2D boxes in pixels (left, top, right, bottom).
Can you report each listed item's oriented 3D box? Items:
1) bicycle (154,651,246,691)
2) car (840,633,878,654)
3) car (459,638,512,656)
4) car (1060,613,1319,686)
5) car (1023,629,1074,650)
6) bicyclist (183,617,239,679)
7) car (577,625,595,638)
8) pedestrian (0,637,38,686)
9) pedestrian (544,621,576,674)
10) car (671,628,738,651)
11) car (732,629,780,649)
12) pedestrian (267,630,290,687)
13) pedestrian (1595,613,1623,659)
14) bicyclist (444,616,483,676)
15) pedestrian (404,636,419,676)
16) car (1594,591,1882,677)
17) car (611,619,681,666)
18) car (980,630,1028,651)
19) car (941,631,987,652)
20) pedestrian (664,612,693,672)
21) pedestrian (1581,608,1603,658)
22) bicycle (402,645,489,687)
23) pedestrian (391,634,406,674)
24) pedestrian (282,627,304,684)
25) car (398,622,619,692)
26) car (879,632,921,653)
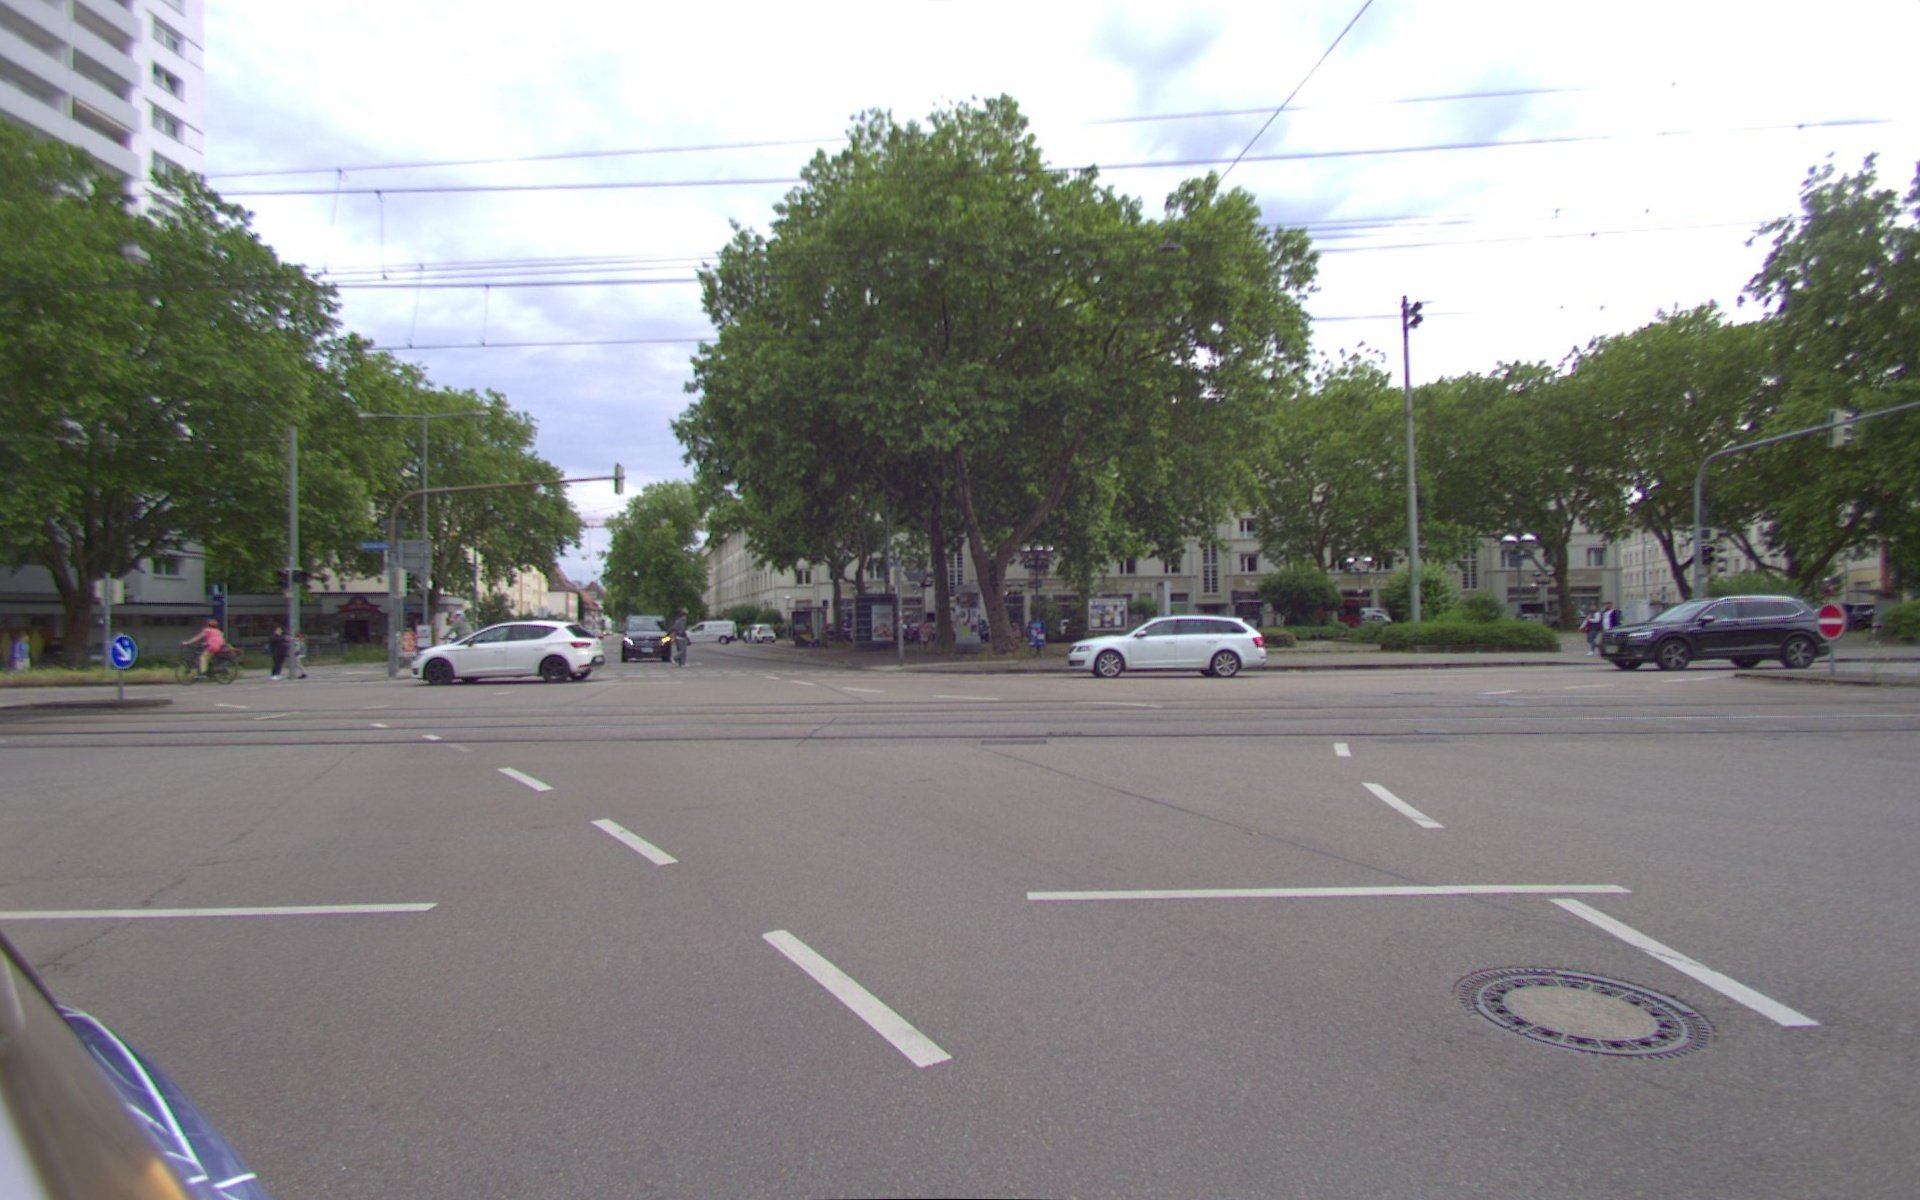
[{"bbox_3d":[-20.777,1.941,27.684,1.966,1.072,0.729,-1,-3,2],"label":"bicycle"},{"bbox_3d":[-7.219,3.027,71.717,1.966,1.400,4.845,-1,-2,-14],"label":"car"},{"bbox_3d":[-41.540,4.095,88.684,3.933,1.386,1.823,-1,0,-14],"label":"car"},{"bbox_3d":[5.260,1.168,23.798,5.626,1.537,1.845,-1,-3,3],"label":"car"},{"bbox_3d":[6.096,2.746,70.500,2.048,1.400,4.845,-1,-2,-14],"label":"car"},{"bbox_3d":[-20.497,1.327,27.710,0.980,1.650,0.707,-1,-3,2],"label":"bicyclist"},{"bbox_3d":[-64.132,5.389,173.575,1.969,2.029,4.006,-1,0,-7],"label":"car"},{"bbox_3d":[-30.132,1.955,32.336,0.843,1.520,0.553,-1,0,8],"label":"pedestrian"},{"bbox_3d":[-13.030,1.535,32.991,0.745,1.703,0.807,-1,-2,-2],"label":"pedestrian"},{"bbox_3d":[-19.551,3.011,77.675,4.758,1.676,2.002,-1,-2,-5],"label":"car"},{"bbox_3d":[-16.504,3.147,81.689,3.999,1.497,1.777,-2,-2,43],"label":"car"},{"bbox_3d":[-19.874,1.689,29.512,0.515,1.624,0.528,-1,0,-30],"label":"pedestrian"},{"bbox_3d":[19.079,1.045,29.771,0.463,1.336,0.457,-1,-2,-4],"label":"pedestrian"},{"bbox_3d":[-13.275,1.223,27.062,0.746,1.574,0.584,-1,-4,3],"label":"bicyclist"},{"bbox_3d":[-19.132,1.947,35.310,0.410,1.375,0.392,-1,0,-25],"label":"pedestrian"},{"bbox_3d":[17.617,0.759,23.103,5.081,1.796,1.706,-1,0,3],"label":"car"},{"bbox_3d":[-12.492,1.746,40.476,1.884,1.732,3.742,-1,-4,-4],"label":"car"},{"bbox_3d":[3.022,2.819,70.645,1.966,1.400,4.845,-1,-2,-14],"label":"car"},{"bbox_3d":[0.236,2.841,69.828,1.966,1.400,4.845,-1,-2,-14],"label":"car"},{"bbox_3d":[-9.230,1.363,33.180,0.678,1.900,0.690,-1,0,-42],"label":"pedestrian"},{"bbox_3d":[18.809,0.978,30.123,0.368,1.490,0.362,-1,-2,-4],"label":"pedestrian"},{"bbox_3d":[-13.728,1.764,27.052,1.966,1.072,0.729,-1,-3,3],"label":"bicycle"},{"bbox_3d":[-19.312,1.852,34.835,0.410,1.375,0.392,-1,0,-25],"label":"pedestrian"},{"bbox_3d":[-19.422,1.596,29.456,0.496,1.624,0.368,-1,0,-30],"label":"pedestrian"},{"bbox_3d":[-10.440,1.307,23.594,4.354,1.459,1.847,-1,0,2],"label":"car"},{"bbox_3d":[-4.250,2.963,70.839,1.966,1.400,4.845,-1,-2,-14],"label":"car"}]
